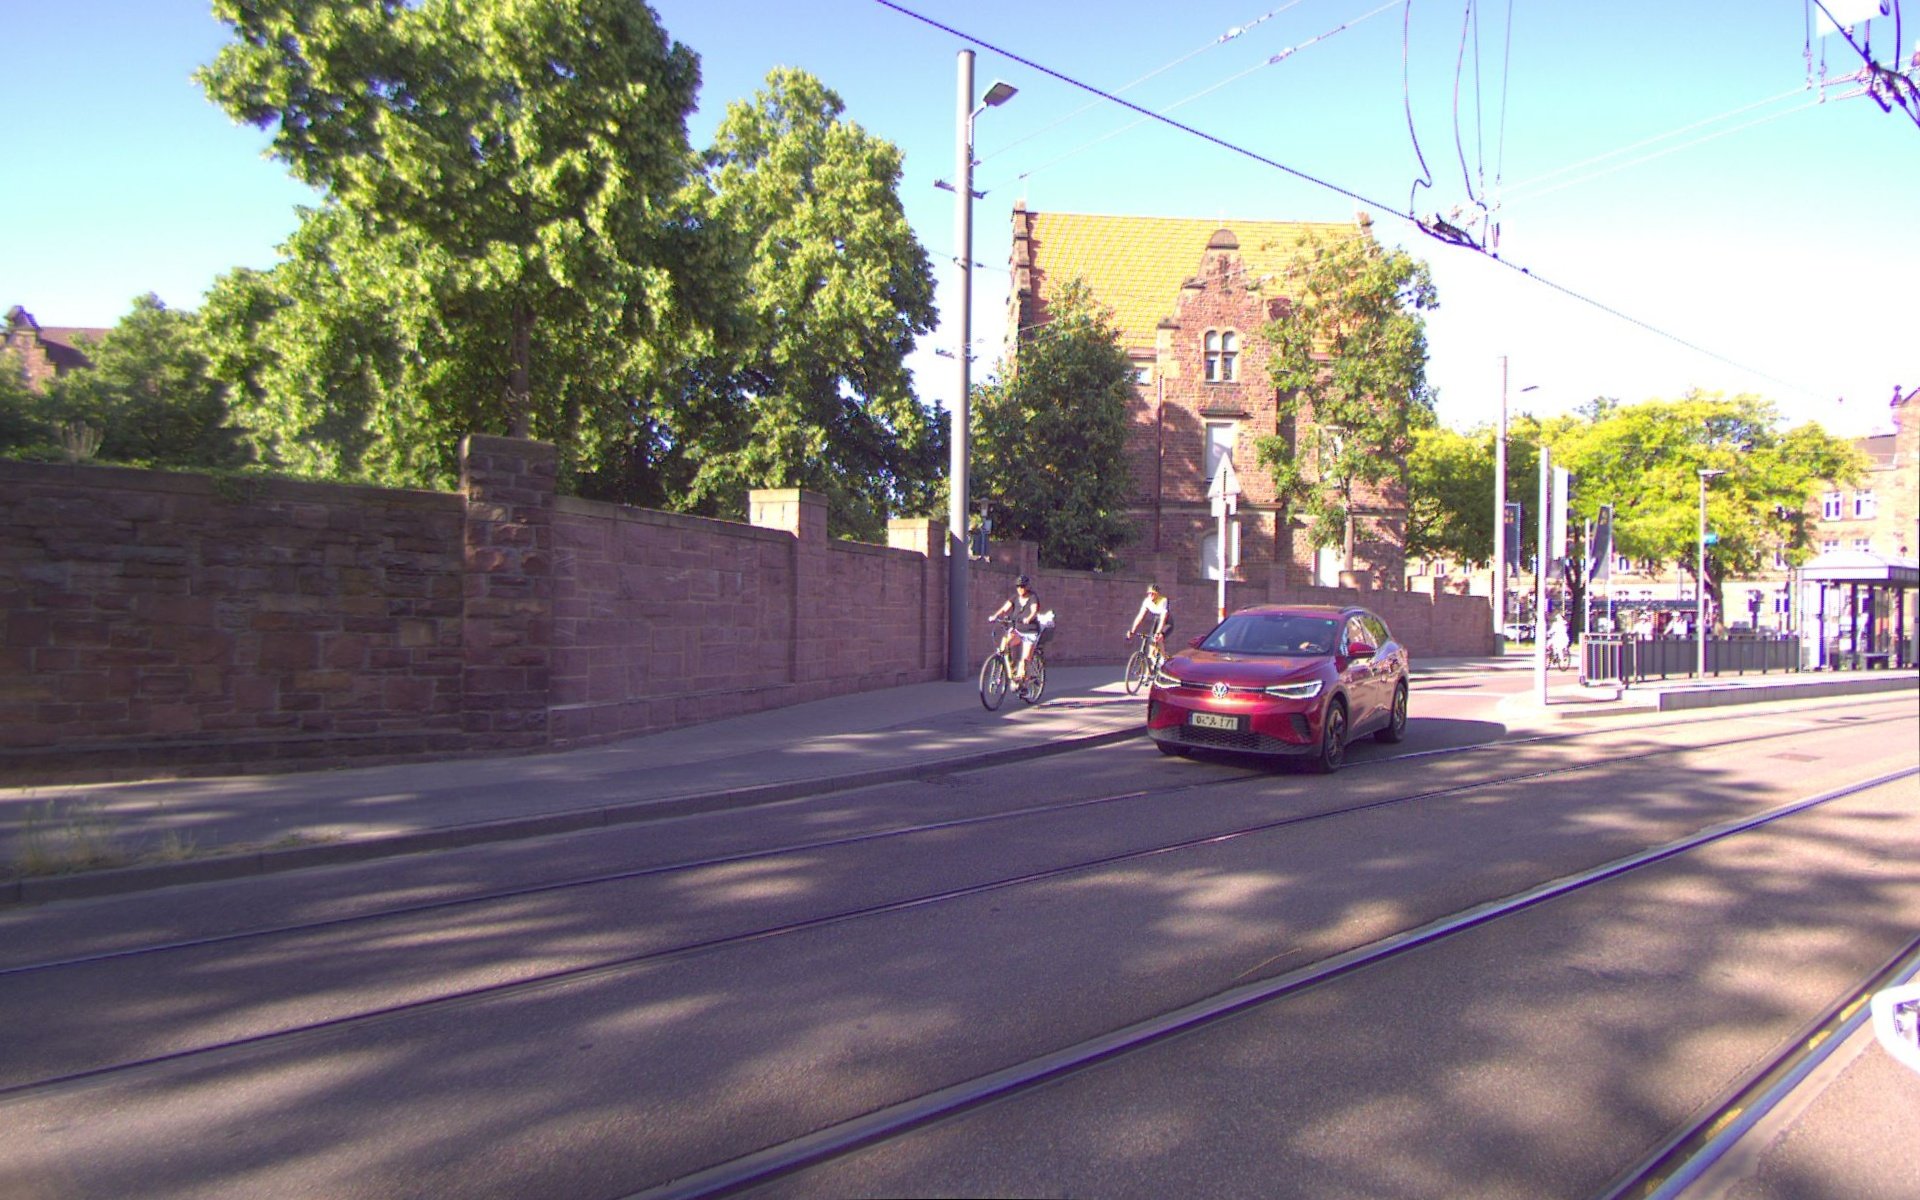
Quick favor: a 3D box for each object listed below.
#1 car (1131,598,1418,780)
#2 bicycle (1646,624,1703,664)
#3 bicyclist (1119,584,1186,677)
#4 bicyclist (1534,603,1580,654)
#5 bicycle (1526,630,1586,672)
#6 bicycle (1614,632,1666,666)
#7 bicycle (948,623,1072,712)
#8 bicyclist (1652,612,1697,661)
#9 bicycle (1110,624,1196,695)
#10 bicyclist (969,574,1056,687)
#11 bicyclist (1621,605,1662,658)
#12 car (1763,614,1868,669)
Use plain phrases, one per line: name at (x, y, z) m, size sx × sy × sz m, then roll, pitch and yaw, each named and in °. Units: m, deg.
car at (3.729, 0.846, 11.362) m, size 1.794 × 1.628 × 4.344 m, roll 1°, pitch -1°, yaw 36°
bicycle at (23.316, 1.437, 32.769) m, size 2.065 × 1.247 × 0.772 m, roll 1°, pitch 0°, yaw -32°
bicyclist at (3.217, 0.495, 16.731) m, size 0.644 × 1.478 × 1.148 m, roll 1°, pitch 0°, yaw 37°
bicyclist at (18.075, 0.855, 30.403) m, size 1.178 × 1.490 × 0.752 m, roll 2°, pitch 0°, yaw -34°
bicycle at (18.048, 1.527, 30.400) m, size 1.932 × 1.214 × 0.810 m, roll 2°, pitch 0°, yaw -34°
bicycle at (22.645, 1.616, 33.424) m, size 1.992 × 1.087 × 0.665 m, roll 1°, pitch 1°, yaw -32°
bicycle at (0.723, 0.876, 13.717) m, size 0.675 × 1.103 × 2.056 m, roll 1°, pitch -1°, yaw 36°
bicyclist at (23.308, 1.177, 32.759) m, size 1.333 × 1.557 × 0.756 m, roll 1°, pitch 0°, yaw -33°
bicycle at (3.243, 0.966, 16.769) m, size 0.675 × 1.103 × 1.848 m, roll 1°, pitch -1°, yaw 36°
bicyclist at (0.734, 0.405, 13.722) m, size 0.644 × 1.478 × 1.148 m, roll 1°, pitch 0°, yaw 37°
bicyclist at (22.696, 1.038, 33.436) m, size 1.219 × 1.697 × 0.647 m, roll 0°, pitch 2°, yaw -32°
car at (30.027, 1.419, 35.237) m, size 4.212 × 1.812 × 1.815 m, roll 1°, pitch -1°, yaw -35°
